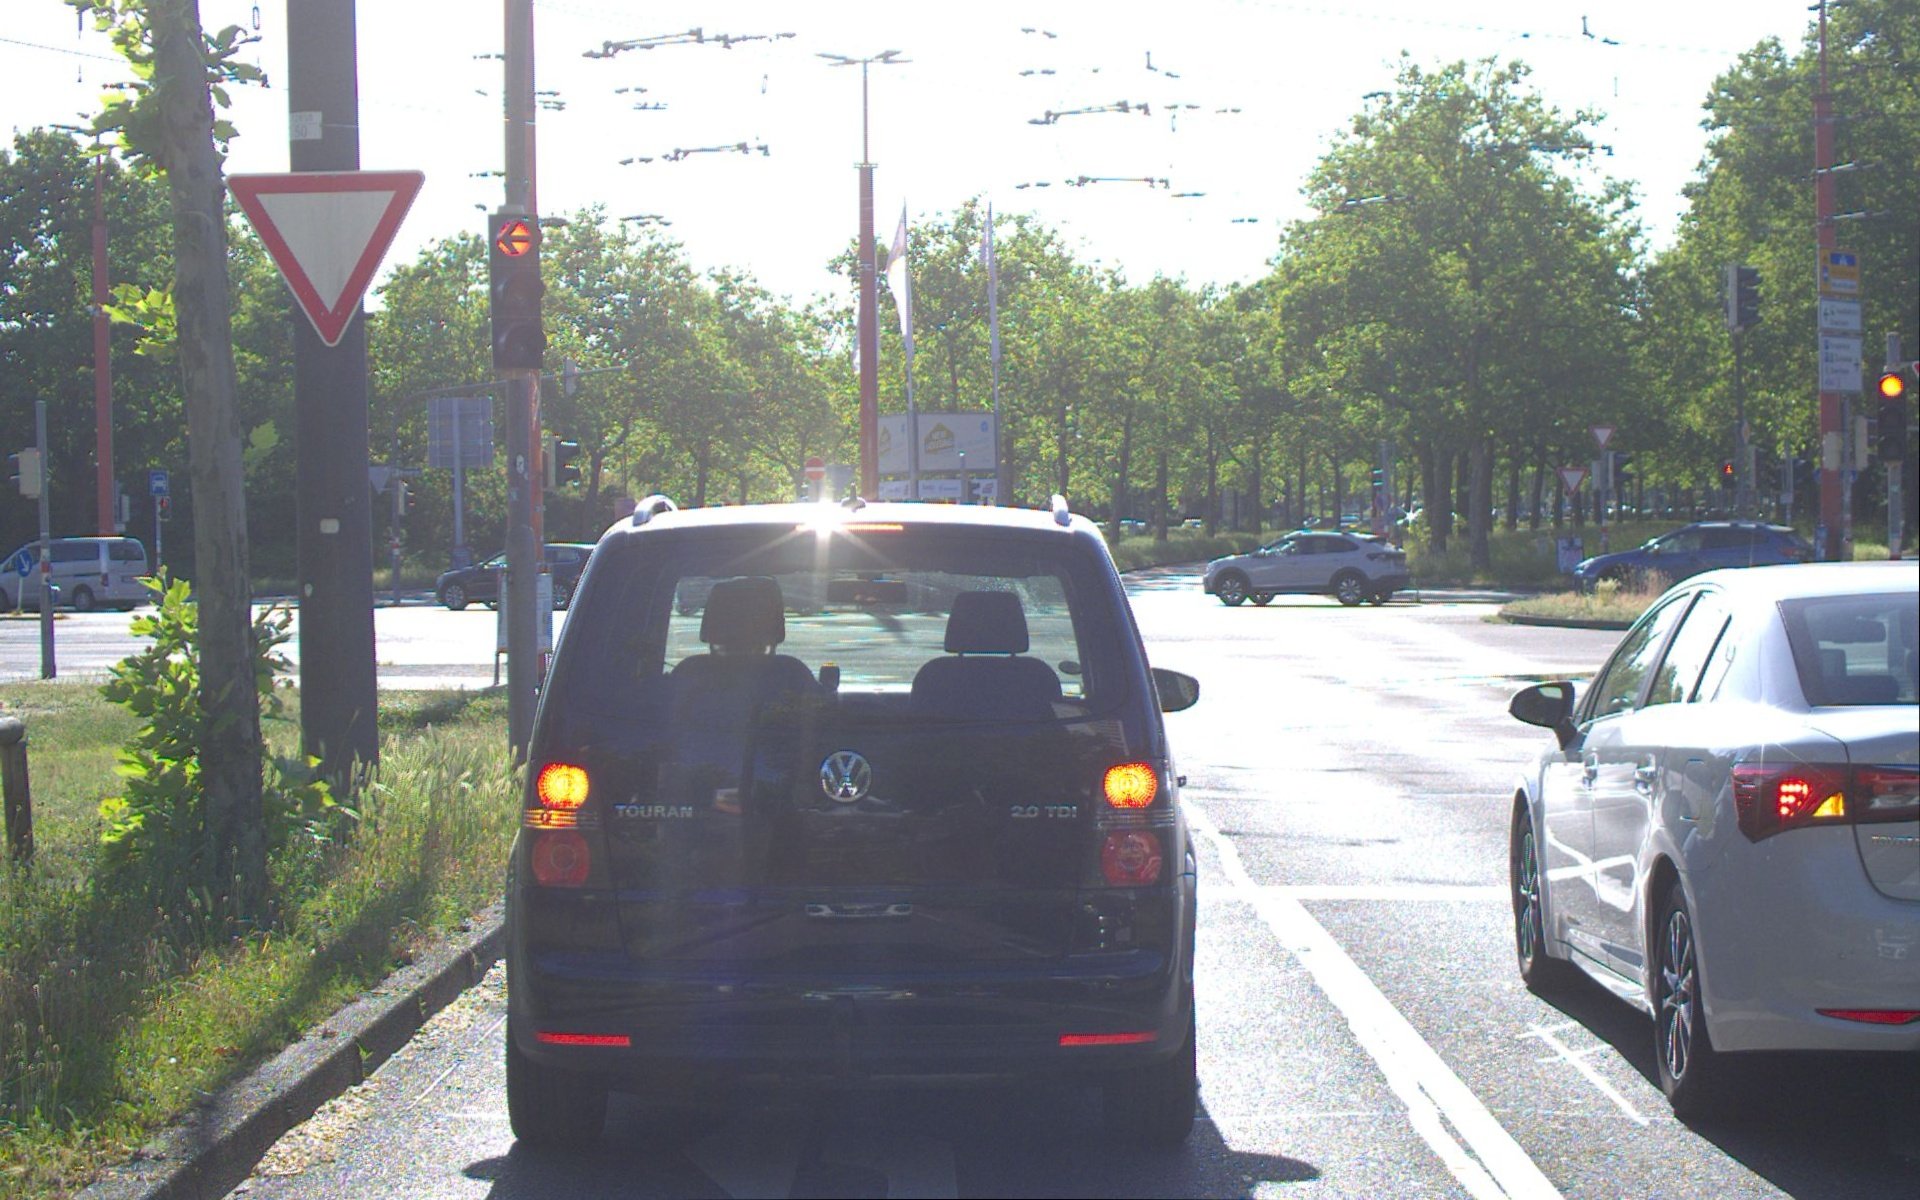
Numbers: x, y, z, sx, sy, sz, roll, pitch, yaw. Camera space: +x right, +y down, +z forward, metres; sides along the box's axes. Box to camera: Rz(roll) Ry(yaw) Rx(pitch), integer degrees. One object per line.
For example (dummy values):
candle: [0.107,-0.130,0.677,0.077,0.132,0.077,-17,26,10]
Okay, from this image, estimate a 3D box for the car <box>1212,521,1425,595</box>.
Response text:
car: [7.322,-0.855,70.299,3.969,1.436,1.684,1,1,27]

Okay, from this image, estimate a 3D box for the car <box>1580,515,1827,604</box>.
car: [13.741,-0.750,63.528,4.125,1.592,1.826,0,1,27]

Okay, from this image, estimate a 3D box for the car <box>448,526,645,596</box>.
car: [-9.464,-0.893,78.686,4.127,1.505,1.820,1,1,26]

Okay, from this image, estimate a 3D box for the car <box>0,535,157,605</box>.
car: [-21.772,-0.743,84.630,3.647,1.650,1.678,1,1,25]

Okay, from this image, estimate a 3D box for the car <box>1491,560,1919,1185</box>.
car: [2.718,0.619,10.116,1.720,1.433,4.198,1,1,1]

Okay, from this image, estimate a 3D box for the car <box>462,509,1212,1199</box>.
car: [-0.313,0.575,9.821,1.700,1.616,3.897,1,1,-1]

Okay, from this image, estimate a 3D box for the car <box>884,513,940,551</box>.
car: [-2.122,-3.007,153.036,1.915,1.630,3.999,1,1,7]

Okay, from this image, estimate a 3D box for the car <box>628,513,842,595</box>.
car: [-4.755,-0.974,72.564,4.185,1.638,1.757,1,1,27]
